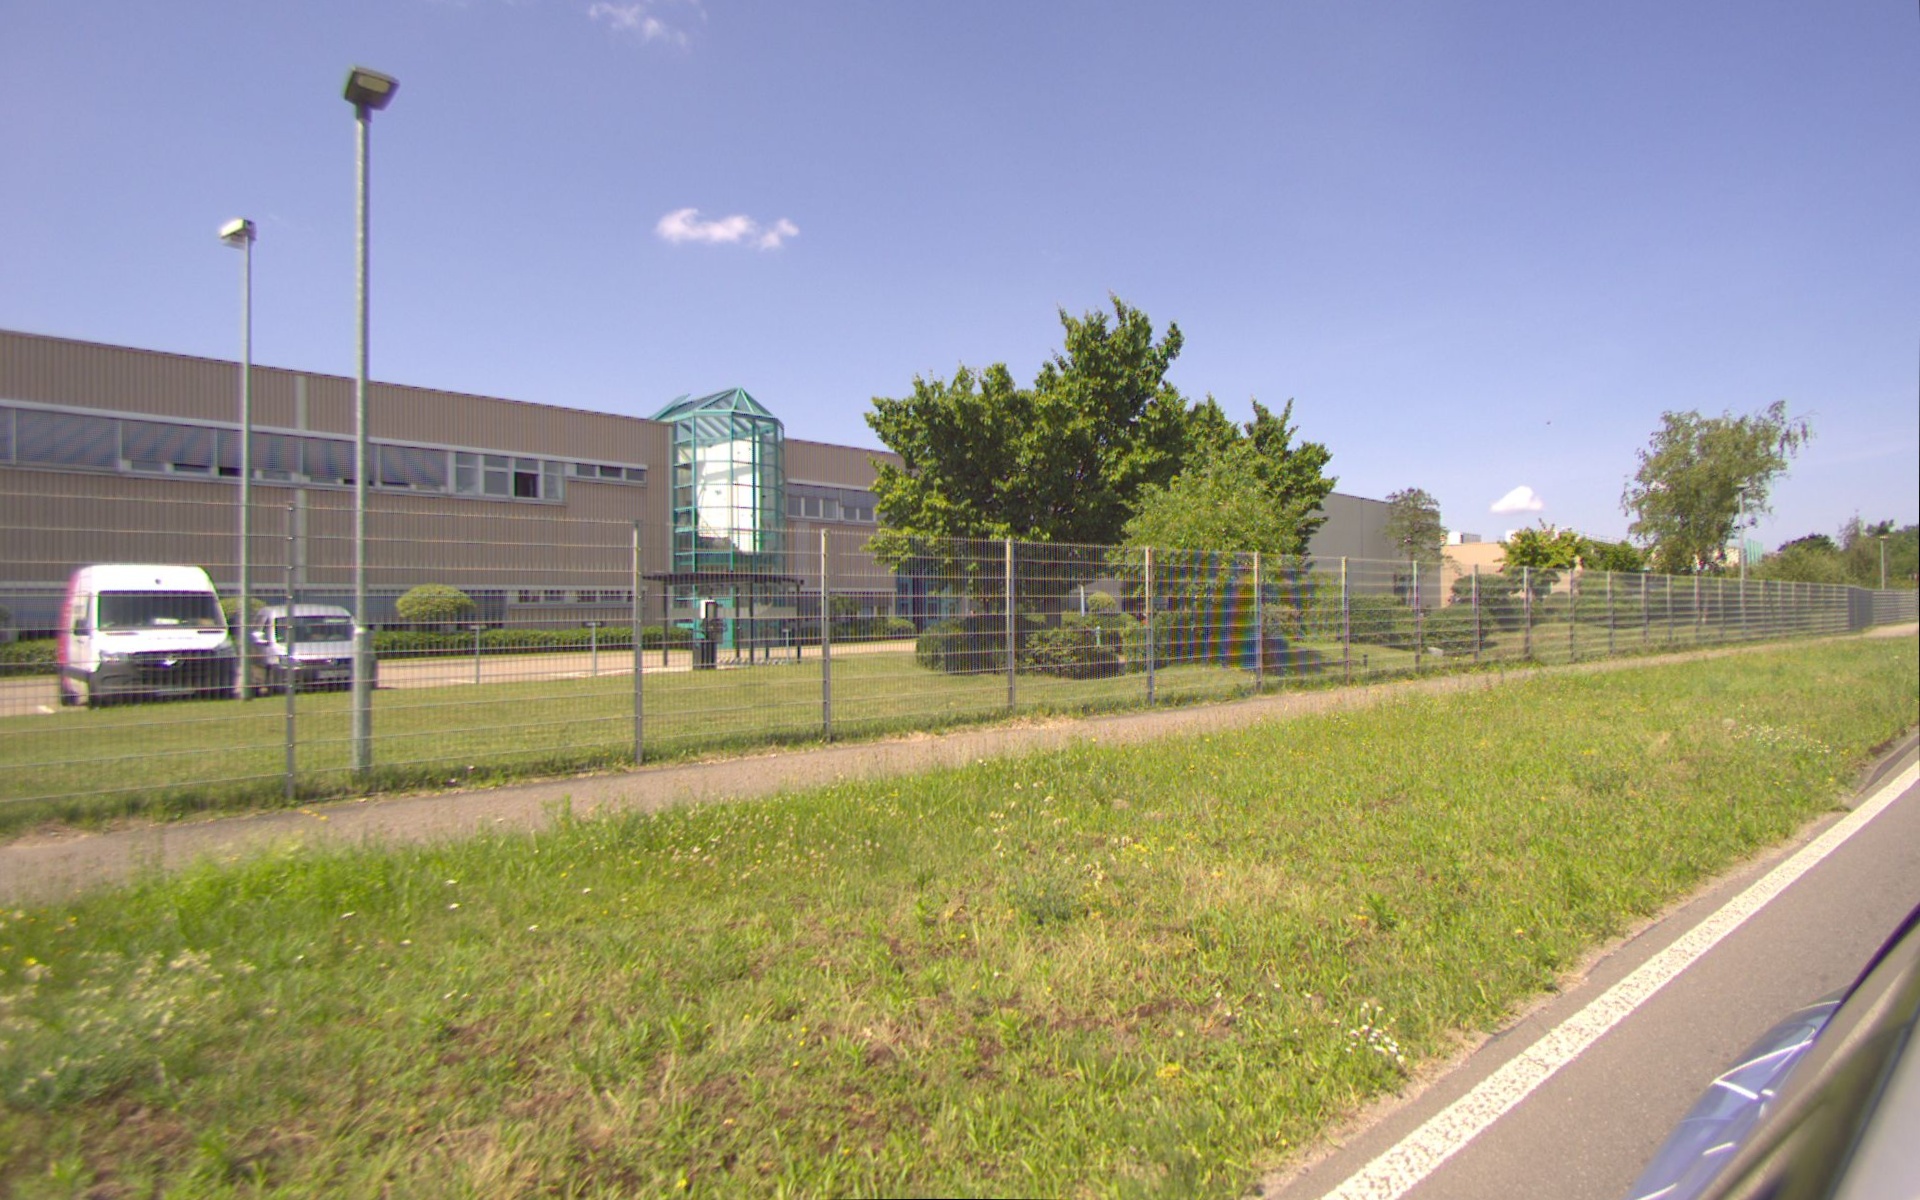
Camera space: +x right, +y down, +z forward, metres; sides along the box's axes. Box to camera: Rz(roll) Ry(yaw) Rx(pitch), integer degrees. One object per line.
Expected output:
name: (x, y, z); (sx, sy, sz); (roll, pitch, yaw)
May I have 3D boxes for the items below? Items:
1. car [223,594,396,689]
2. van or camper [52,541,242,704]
car: (-12.791, 0.765, 19.815); (3.985, 1.661, 1.969); (-2, -1, 44)
van or camper: (-15.048, 0.537, 18.574); (5.767, 2.551, 1.969); (-5, -4, 43)
